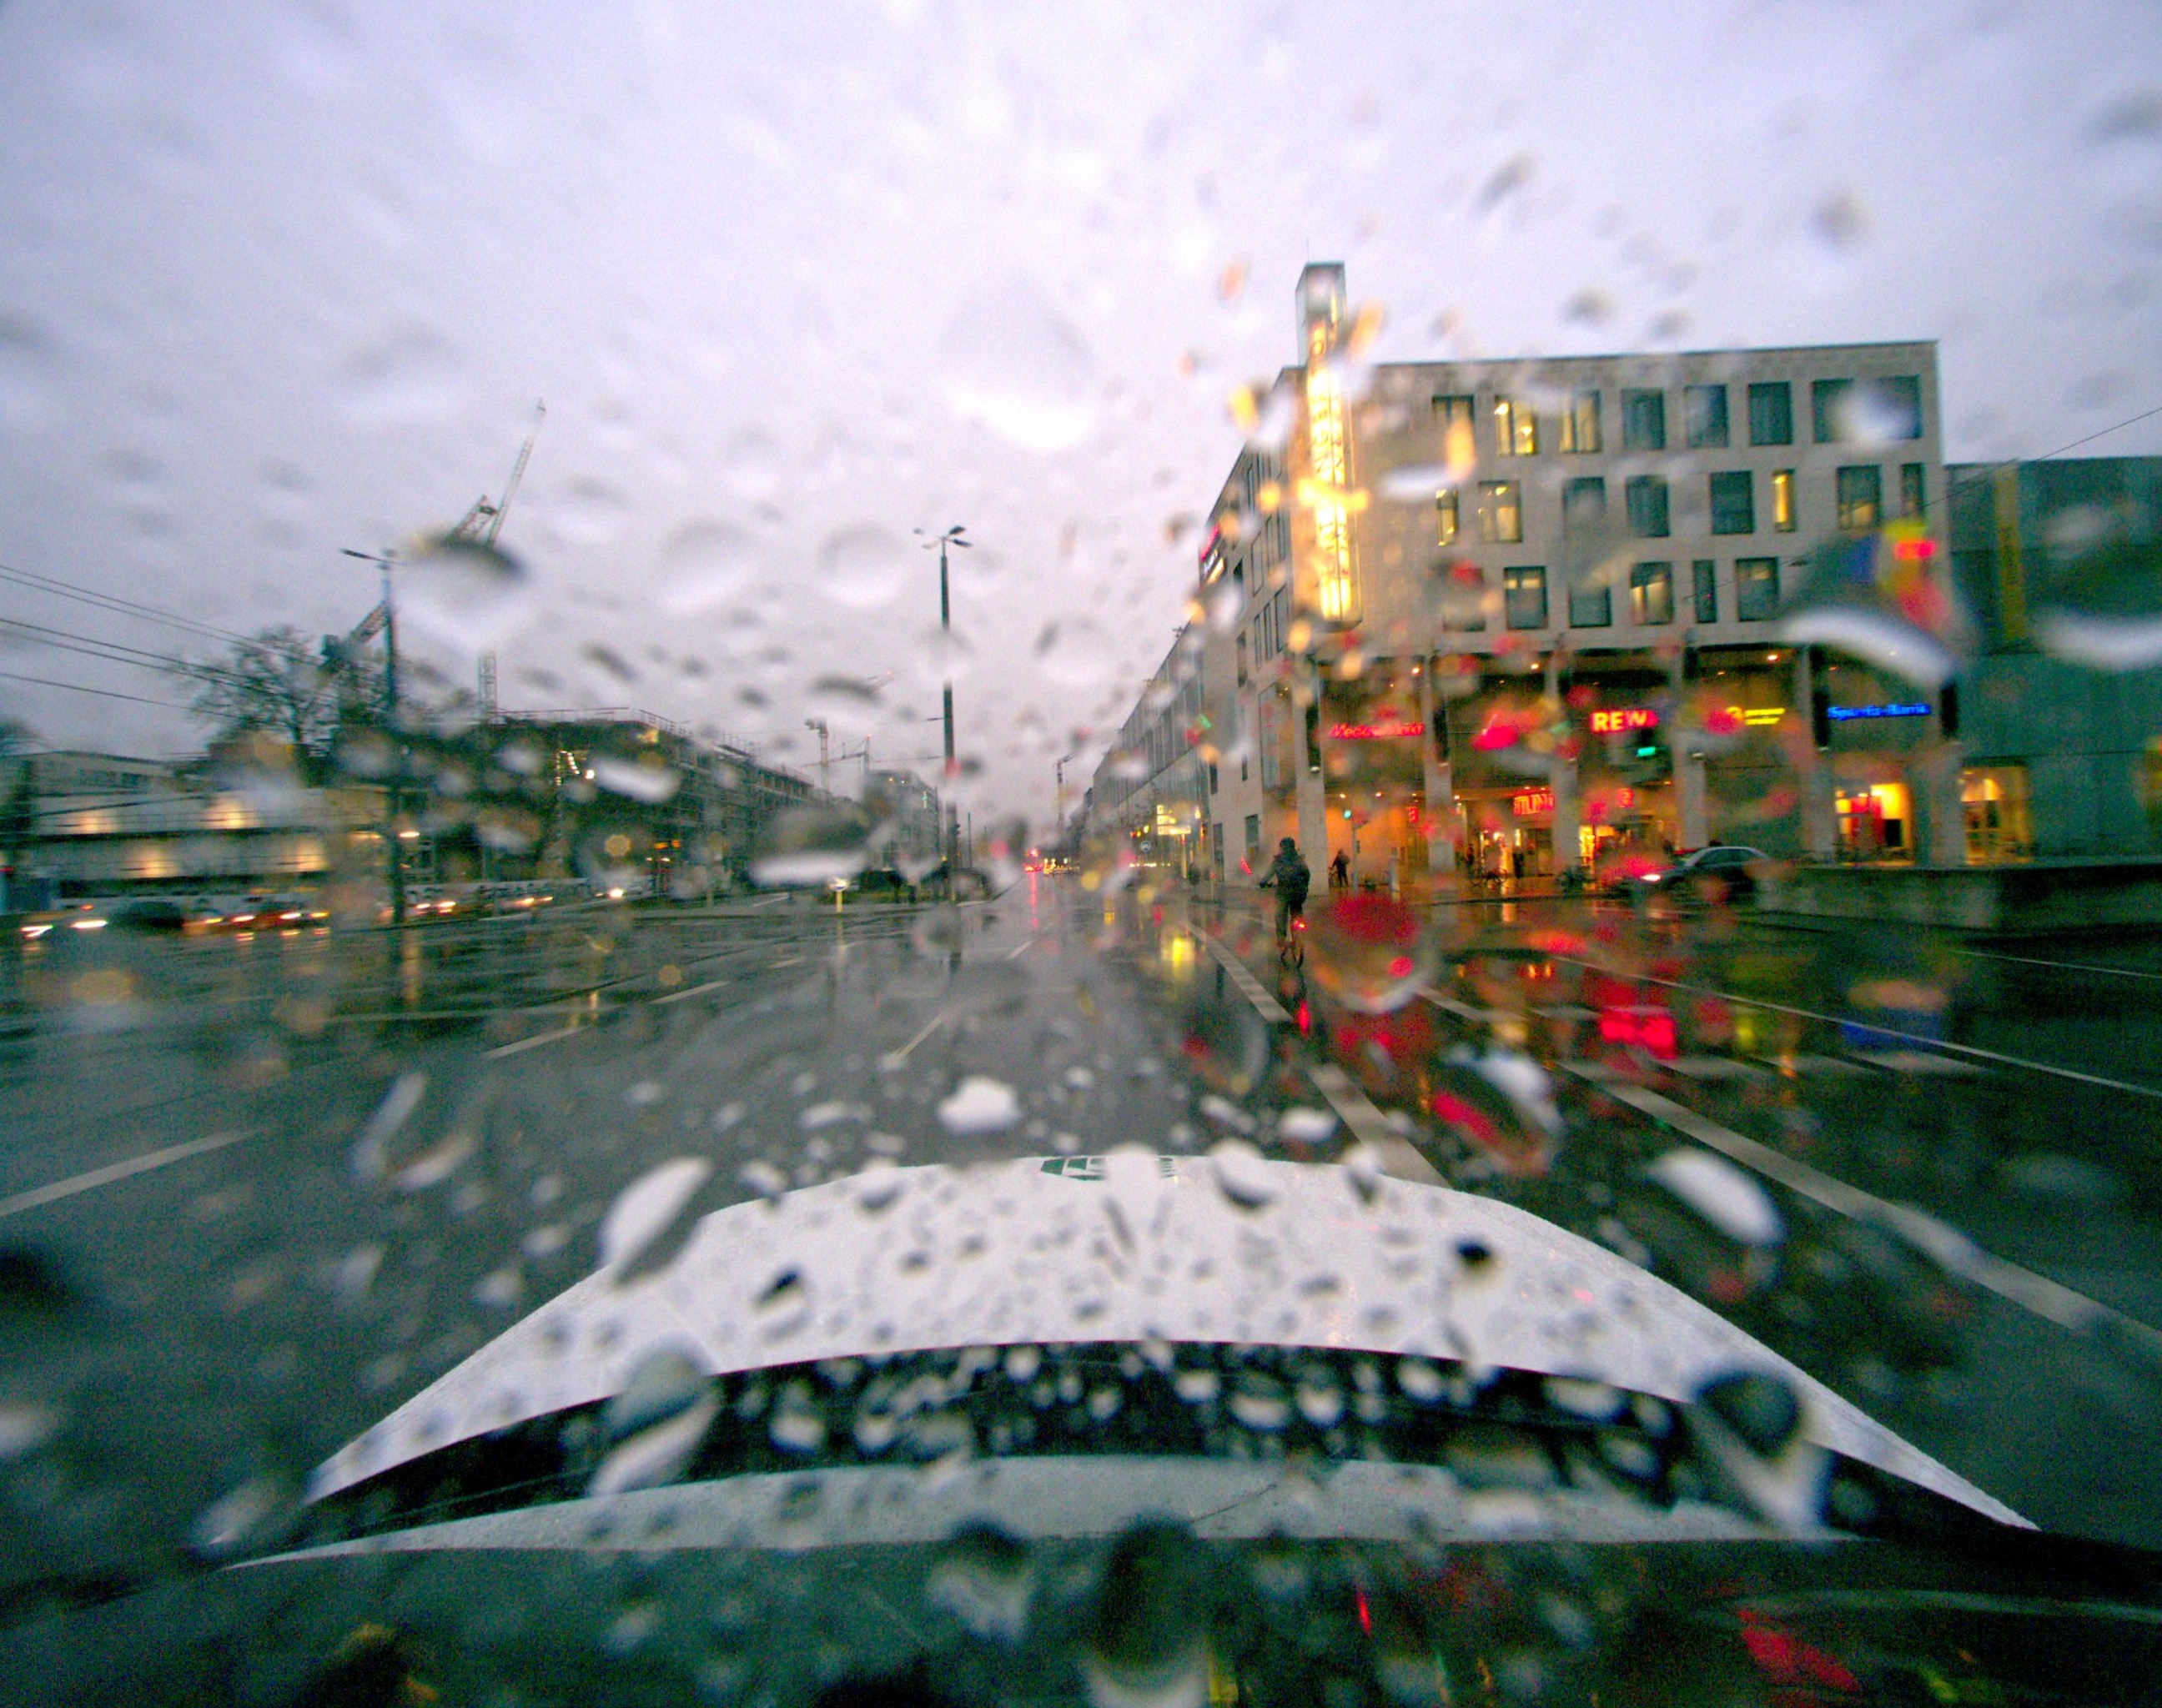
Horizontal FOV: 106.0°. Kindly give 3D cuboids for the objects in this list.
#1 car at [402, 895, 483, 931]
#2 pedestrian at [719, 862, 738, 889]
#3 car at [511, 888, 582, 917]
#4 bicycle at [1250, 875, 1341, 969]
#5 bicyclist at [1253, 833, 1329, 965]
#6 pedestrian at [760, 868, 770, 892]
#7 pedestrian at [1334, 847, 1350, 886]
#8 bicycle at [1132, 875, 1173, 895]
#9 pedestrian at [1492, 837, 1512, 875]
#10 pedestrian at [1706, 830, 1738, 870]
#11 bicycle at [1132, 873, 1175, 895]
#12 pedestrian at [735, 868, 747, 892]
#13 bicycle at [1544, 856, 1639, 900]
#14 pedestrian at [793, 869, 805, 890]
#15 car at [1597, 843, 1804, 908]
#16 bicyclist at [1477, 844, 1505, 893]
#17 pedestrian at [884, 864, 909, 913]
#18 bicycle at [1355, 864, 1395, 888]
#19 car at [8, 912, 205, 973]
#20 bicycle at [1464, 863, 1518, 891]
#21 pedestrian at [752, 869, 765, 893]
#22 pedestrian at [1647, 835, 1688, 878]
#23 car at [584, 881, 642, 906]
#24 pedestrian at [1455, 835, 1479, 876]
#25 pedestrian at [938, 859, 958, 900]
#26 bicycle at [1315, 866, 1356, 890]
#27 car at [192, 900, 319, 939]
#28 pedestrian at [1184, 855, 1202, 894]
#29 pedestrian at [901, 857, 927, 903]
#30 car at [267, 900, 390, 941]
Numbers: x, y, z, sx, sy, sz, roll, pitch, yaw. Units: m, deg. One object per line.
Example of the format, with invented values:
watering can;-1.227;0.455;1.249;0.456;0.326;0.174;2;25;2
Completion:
car;-36.878;3.376;47.197;1.864;1.828;3.990;-1;-1;-7
pedestrian;-26.923;1.653;62.177;0.938;2.014;1.095;-1;-1;3
car;-36.995;3.340;56.467;1.983;1.790;4.006;-1;-1;6
bicycle;2.808;0.856;10.854;0.706;1.094;1.783;-1;0;0
bicyclist;2.791;0.577;10.911;0.700;1.660;0.964;-2;0;0
pedestrian;-26.051;2.166;67.169;0.569;1.968;0.664;1;-1;-6
pedestrian;11.768;0.573;36.703;0.596;1.745;0.526;-1;-1;8
bicycle;4.313;1.887;49.243;2.419;1.099;0.711;-2;-1;-2
pedestrian;19.457;0.111;37.675;0.728;1.718;0.743;-3;-1;27
pedestrian;27.458;-0.169;34.893;0.890;1.684;0.528;-3;-2;-1
bicycle;4.327;1.781;48.467;2.436;1.154;0.674;-2;-1;-2
pedestrian;-26.529;2.010;63.548;0.696;1.881;0.553;-1;-1;-1
bicycle;17.565;0.823;28.057;2.707;1.359;0.956;-2;-1;-4
pedestrian;-27.541;2.467;79.498;0.942;2.014;1.090;0;-1;-11
car;16.384;0.562;21.707;3.973;1.618;2.000;-1;-1;0
bicyclist;17.388;0.597;34.528;0.914;2.014;0.912;-2;-1;23
pedestrian;-7.731;1.428;34.117;0.776;2.014;0.732;-2;-2;42
bicycle;13.602;0.999;37.690;1.643;1.070;0.524;-1;-1;-4
car;-33.460;2.976;28.169;1.987;1.657;3.999;-2;-1;0
bicycle;17.353;0.965;34.535;1.944;1.086;0.931;-2;-1;21
pedestrian;-26.080;2.178;65.859;0.763;1.898;0.762;-1;-2;-1
pedestrian;23.831;0.106;33.089;1.027;1.684;0.824;-1;-1;-1
car;-36.702;3.067;63.994;1.983;1.790;4.006;-1;-1;6
pedestrian;19.560;0.066;41.280;0.841;2.014;0.700;-2;-1;8
pedestrian;-5.585;1.058;34.242;0.605;1.686;0.582;-2;-2;42
bicycle;11.754;1.087;37.585;1.766;1.070;0.523;-1;-1;-9
car;-40.079;3.156;39.719;1.991;1.530;4.327;-2;-1;-6
pedestrian;4.944;0.901;36.003;0.635;1.709;0.573;-2;-1;-1
pedestrian;-6.839;1.056;33.290;0.826;1.831;0.778;0;-1;-31
car;-35.524;3.102;38.650;2.075;1.530;4.600;-2;-1;-10
